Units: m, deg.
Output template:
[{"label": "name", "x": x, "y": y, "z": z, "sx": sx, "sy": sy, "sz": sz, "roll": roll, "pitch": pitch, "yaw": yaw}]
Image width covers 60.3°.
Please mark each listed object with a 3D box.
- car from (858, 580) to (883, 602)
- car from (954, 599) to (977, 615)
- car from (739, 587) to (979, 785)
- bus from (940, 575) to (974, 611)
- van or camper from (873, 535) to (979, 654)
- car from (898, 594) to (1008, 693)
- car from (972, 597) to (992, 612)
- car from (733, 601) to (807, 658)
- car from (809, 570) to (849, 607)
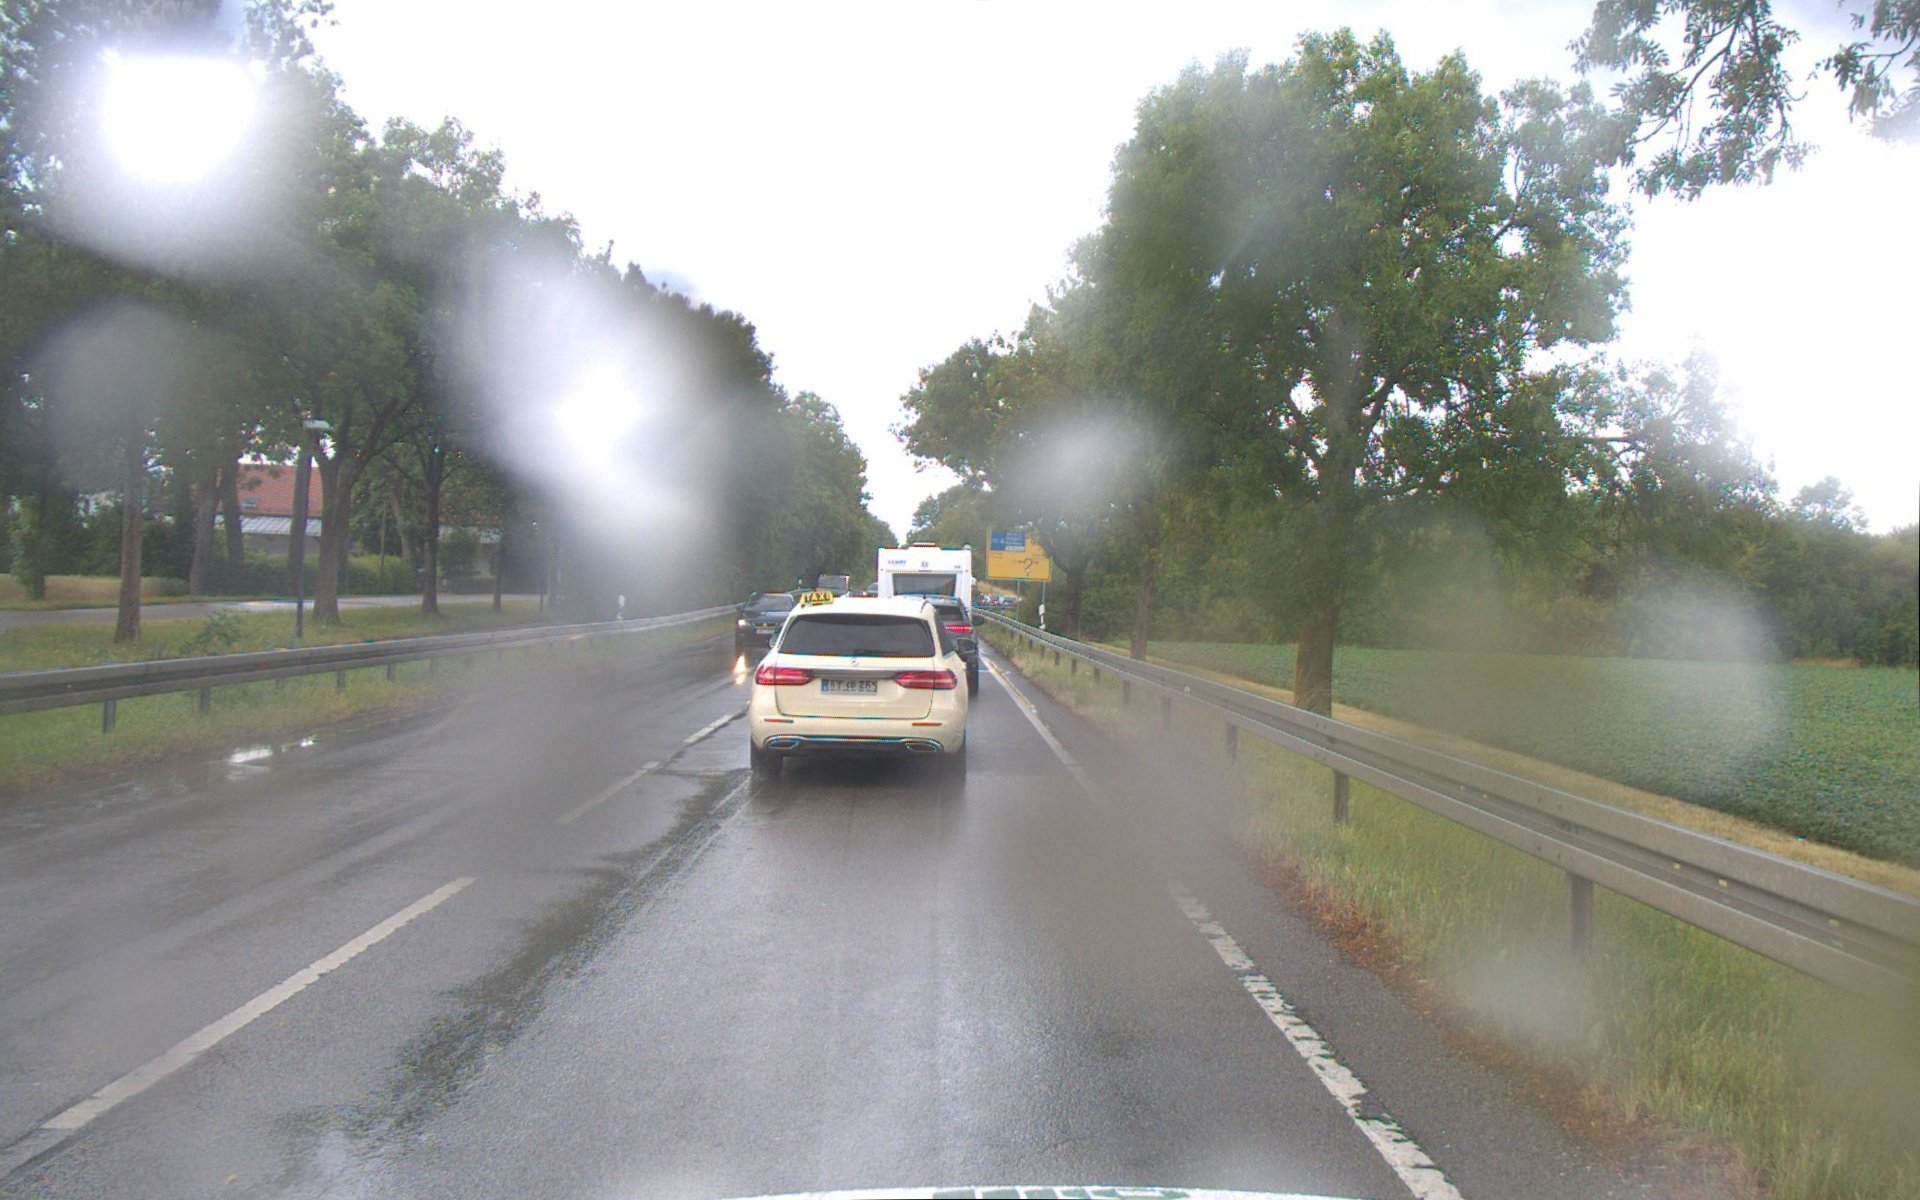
[{"label": "car", "x": -6.045, "y": -0.609, "z": 112.048, "sx": 1.595, "sy": 1.463, "sz": 3.959, "roll": 1, "pitch": 0, "yaw": -1}, {"label": "car", "x": 0.397, "y": 0.492, "z": 120.445, "sx": 1.520, "sy": 1.138, "sz": 3.999, "roll": 1, "pitch": 0, "yaw": -1}, {"label": "car", "x": -0.774, "y": 0.653, "z": 14.711, "sx": 1.826, "sy": 1.502, "sz": 4.000, "roll": 1, "pitch": 0, "yaw": 0}, {"label": "bus", "x": -0.200, "y": -0.395, "z": 96.879, "sx": 1.953, "sy": 2.049, "sz": 3.999, "roll": 0, "pitch": 0, "yaw": -1}, {"label": "van or camper", "x": -0.795, "y": -0.134, "z": 41.604, "sx": 2.438, "sy": 2.732, "sz": 5.700, "roll": 1, "pitch": 0, "yaw": 0}, {"label": "car", "x": -0.101, "y": 0.644, "z": 26.736, "sx": 1.630, "sy": 1.456, "sz": 4.000, "roll": 1, "pitch": 0, "yaw": 0}, {"label": "car", "x": 1.694, "y": 0.358, "z": 129.895, "sx": 1.520, "sy": 1.138, "sz": 4.000, "roll": 1, "pitch": 0, "yaw": 0}, {"label": "car", "x": -5.313, "y": 0.805, "z": 46.704, "sx": 1.679, "sy": 1.476, "sz": 4.110, "roll": 1, "pitch": 0, "yaw": -2}, {"label": "car", "x": -6.710, "y": -0.576, "z": 85.315, "sx": 1.791, "sy": 1.834, "sz": 4.413, "roll": 1, "pitch": 0, "yaw": -1}]
